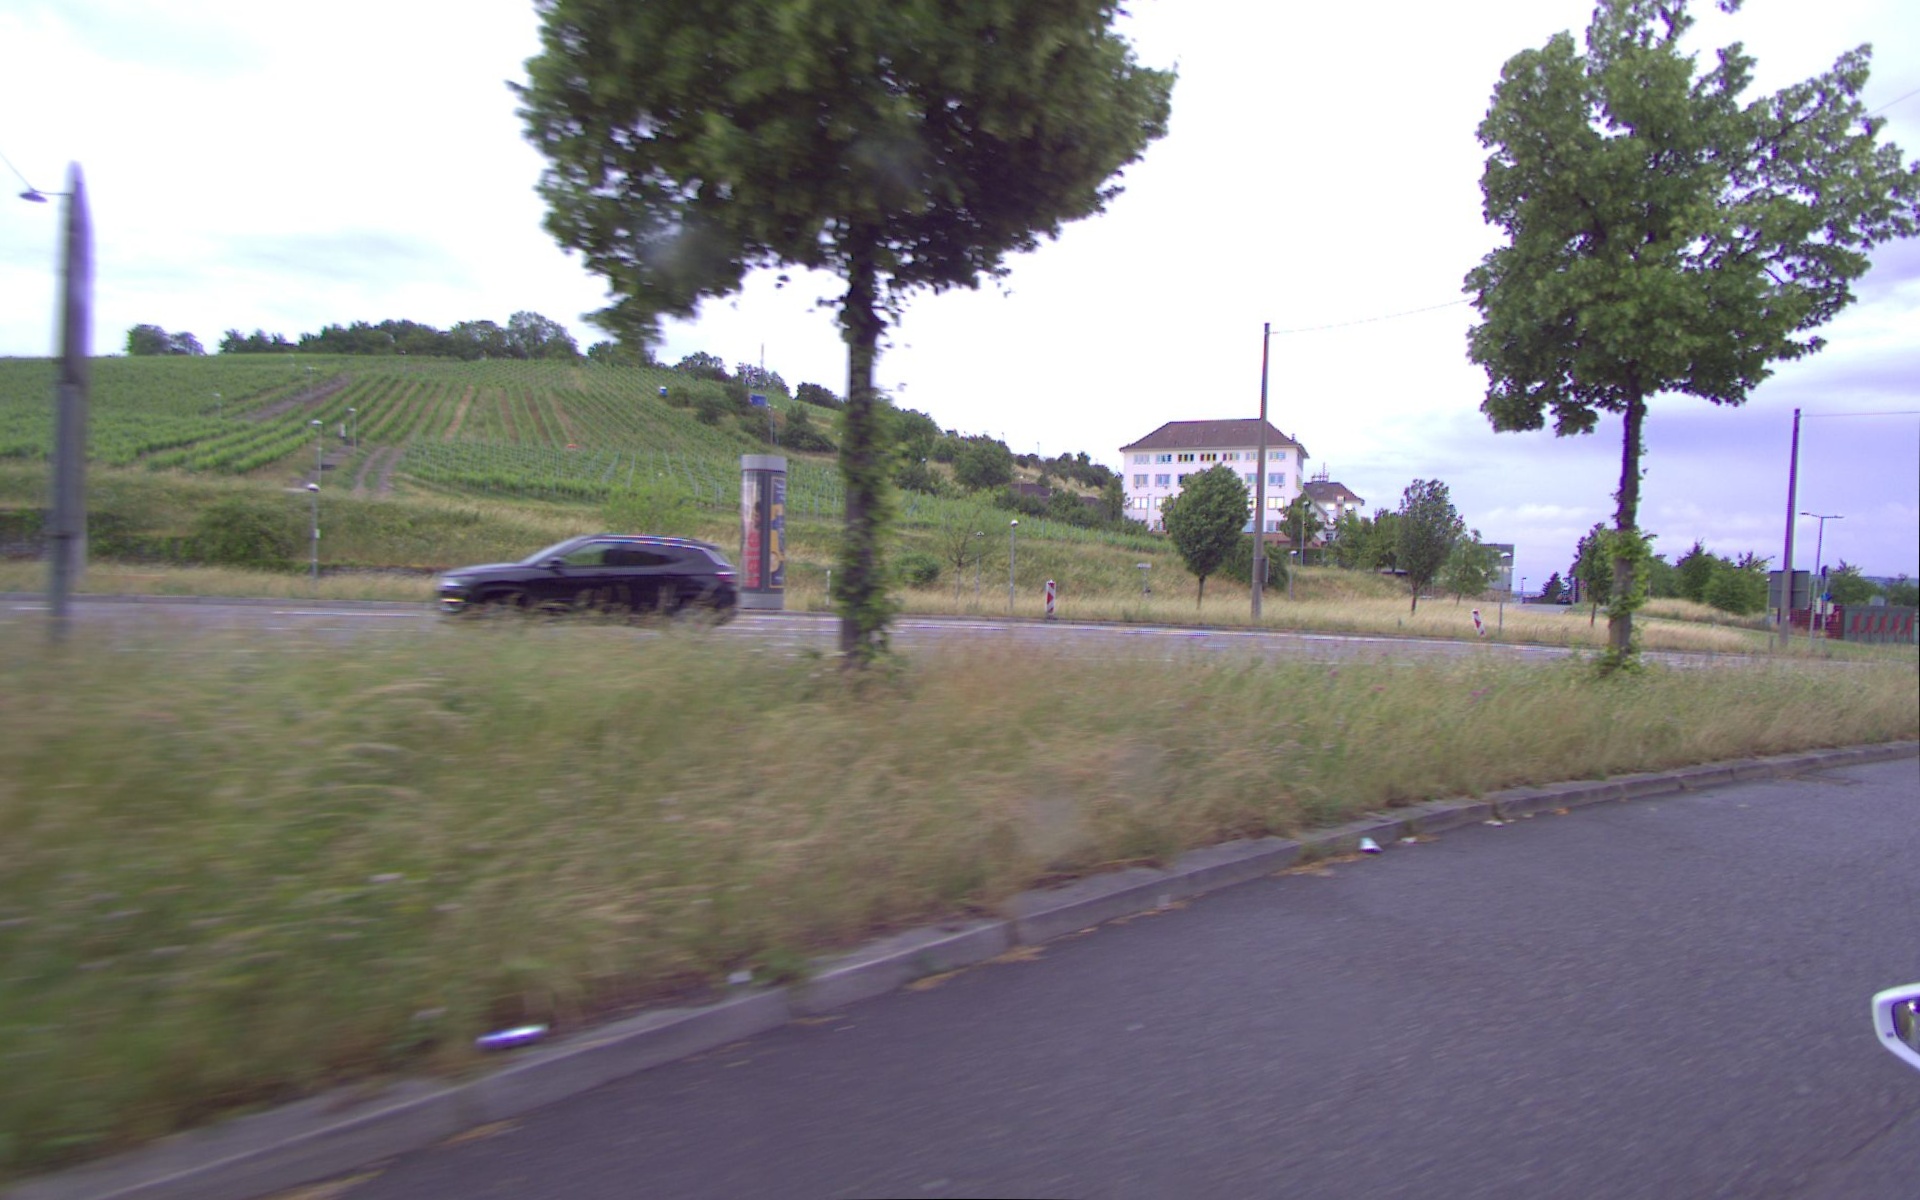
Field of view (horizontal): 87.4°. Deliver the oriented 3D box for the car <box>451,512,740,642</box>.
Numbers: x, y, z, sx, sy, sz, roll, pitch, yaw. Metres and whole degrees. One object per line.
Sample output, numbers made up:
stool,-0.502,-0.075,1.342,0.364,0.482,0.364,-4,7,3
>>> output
car,-5.561,-0.297,15.412,3.948,1.773,1.761,1,1,-27
